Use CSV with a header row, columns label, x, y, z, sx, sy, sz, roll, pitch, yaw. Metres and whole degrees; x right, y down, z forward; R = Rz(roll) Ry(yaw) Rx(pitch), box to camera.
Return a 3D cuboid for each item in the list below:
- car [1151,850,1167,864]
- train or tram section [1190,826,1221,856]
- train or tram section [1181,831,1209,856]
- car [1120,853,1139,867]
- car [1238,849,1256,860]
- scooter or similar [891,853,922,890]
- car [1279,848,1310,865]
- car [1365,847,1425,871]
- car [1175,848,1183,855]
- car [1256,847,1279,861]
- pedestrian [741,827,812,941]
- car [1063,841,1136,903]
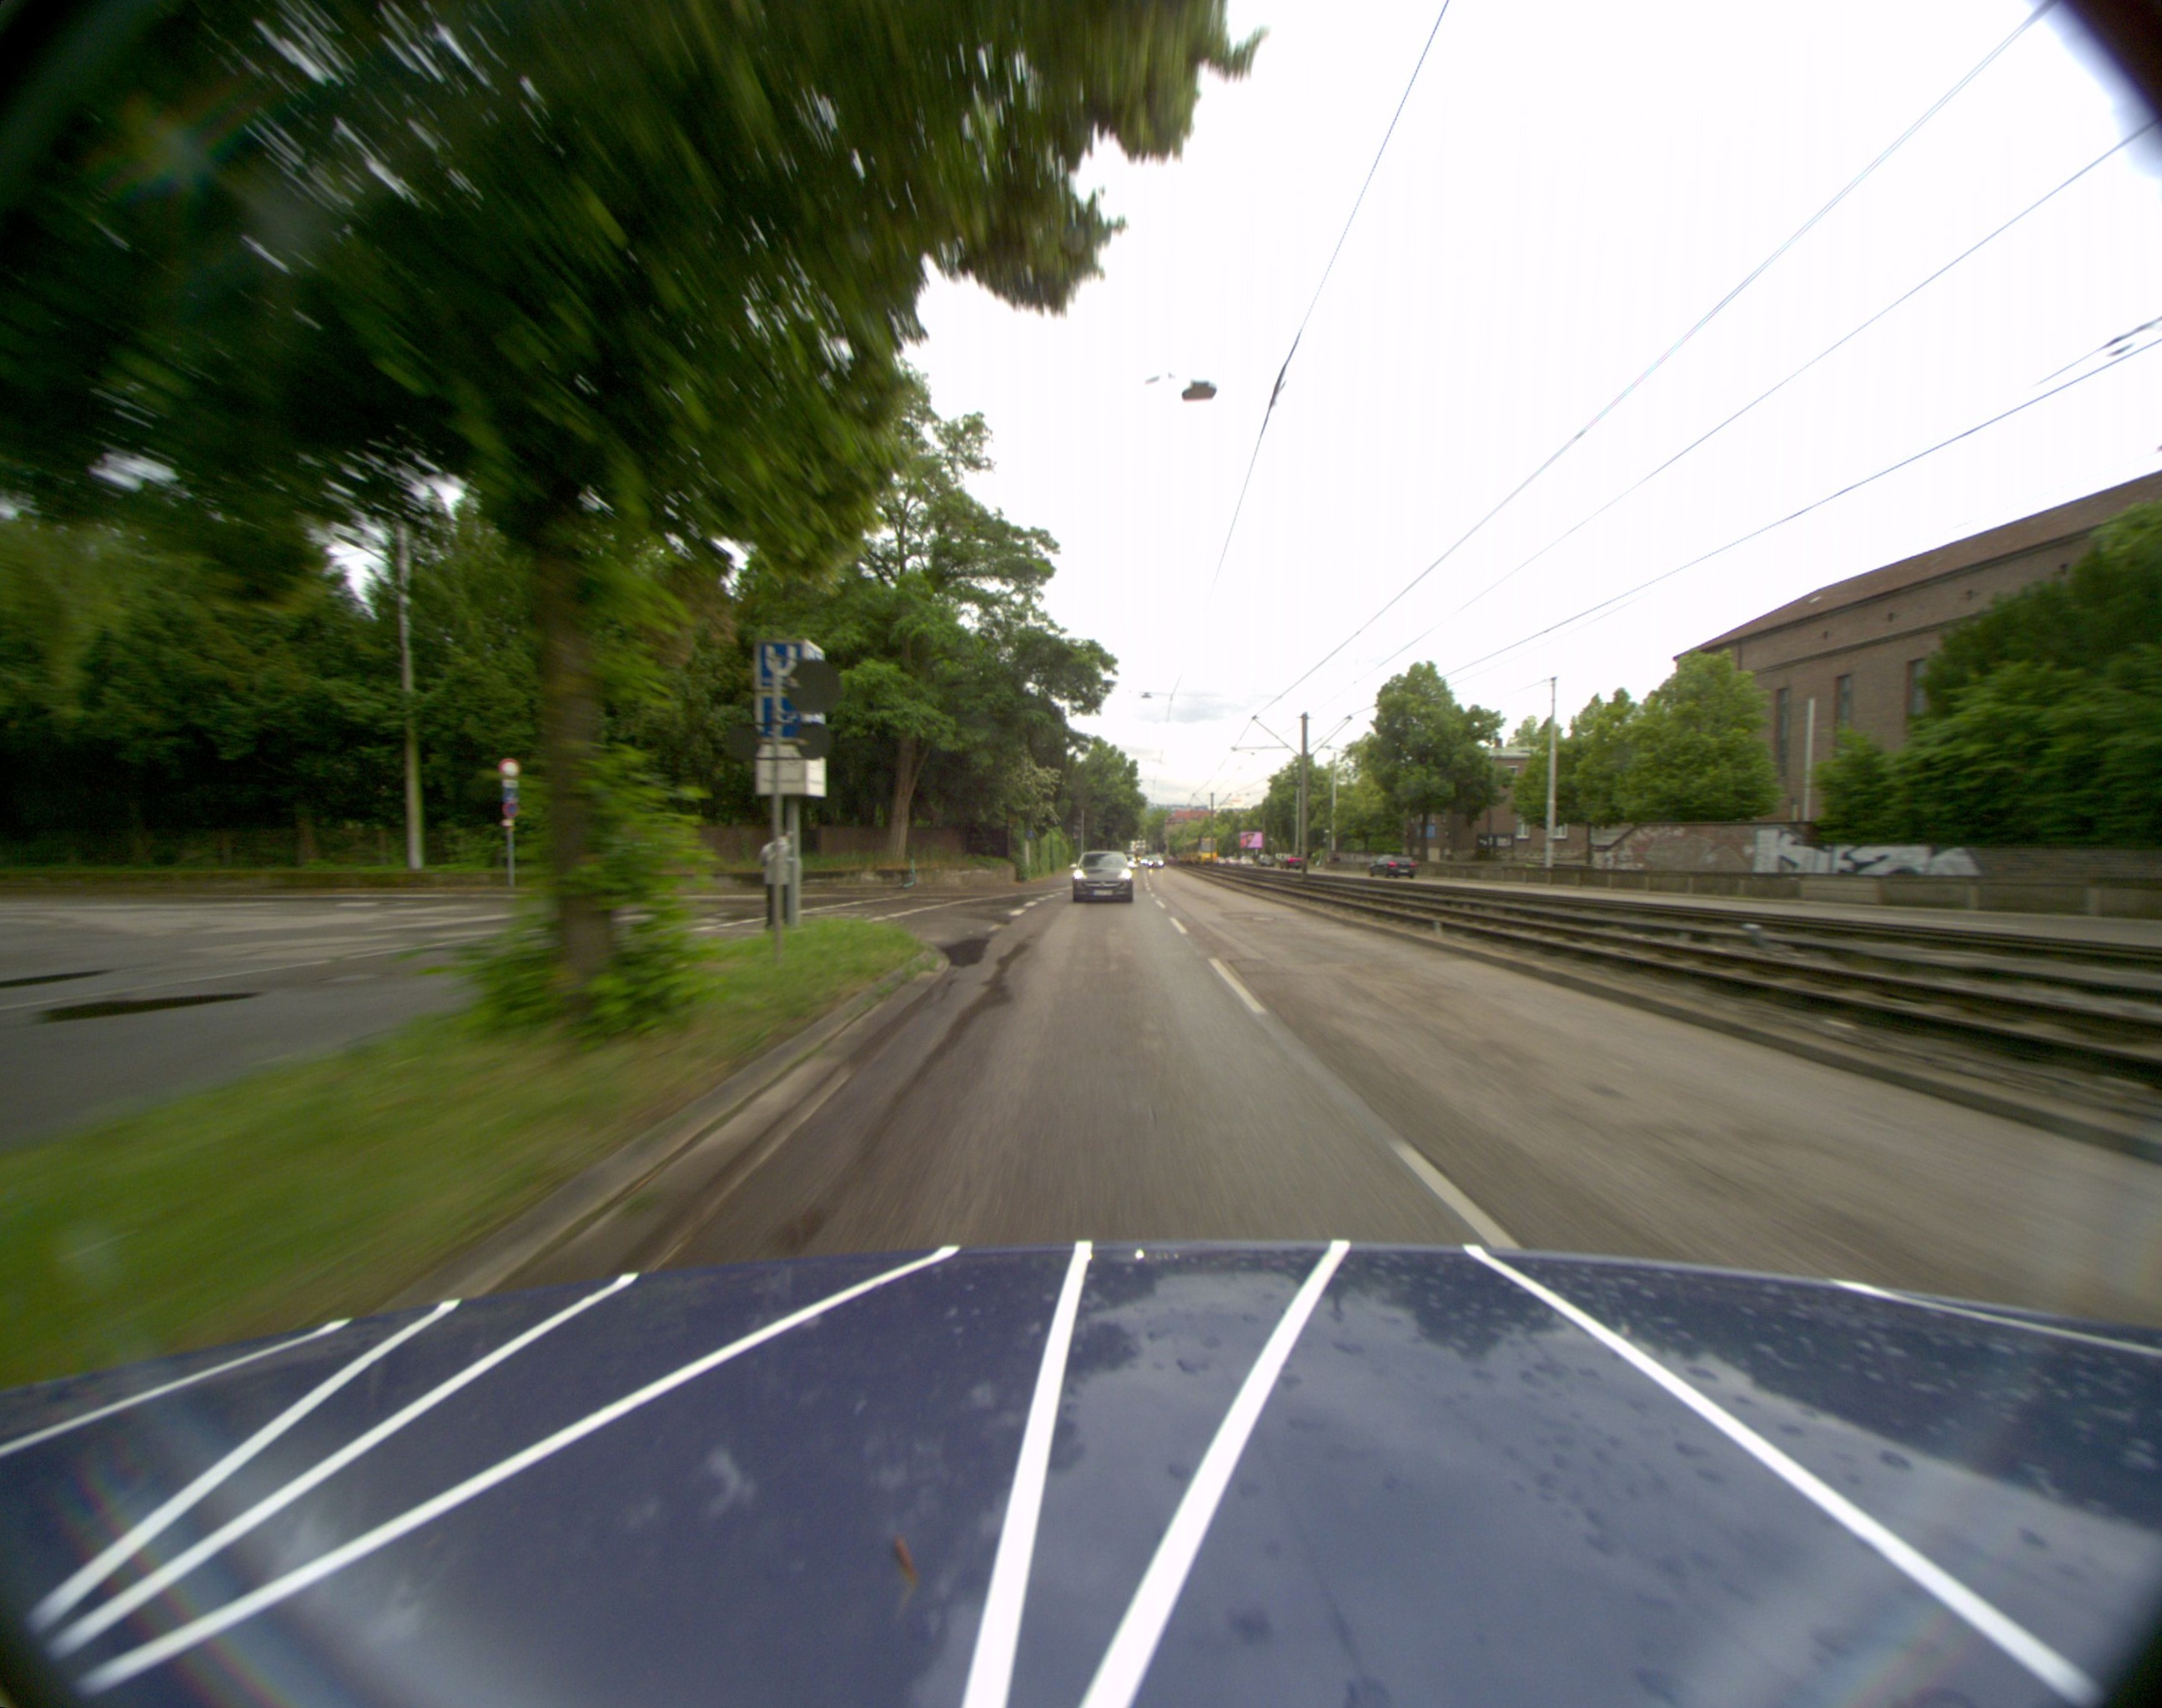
label,x,y,z,sx,sy,sz,roll,pitch,yaw
car,8.680,0.353,84.634,1.768,1.502,4.343,0,0,6
train or tram section,17.665,-1.667,108.959,2.834,3.952,17.882,0,0,4
train or tram section,18.888,-1.577,127.374,2.834,3.952,20.033,0,0,3
car,5.199,0.608,81.592,1.769,1.502,4.341,0,0,0
car,24.194,0.088,110.866,1.751,1.459,3.986,3,0,2
scooter or similar,-6.137,0.604,26.811,0.515,1.224,1.315,4,1,10
car,21.648,0.226,77.181,1.998,1.634,4.525,1,0,2
car,19.518,0.288,47.392,1.970,1.433,4.322,1,0,1
car,24.859,-0.571,192.864,1.691,1.628,4.342,0,0,4
car,22.995,-0.046,93.791,1.998,1.634,4.412,1,0,3
pedestrian,-5.097,0.489,12.744,0.856,1.843,0.737,0,0,5
car,0.635,0.472,21.580,1.745,1.544,4.495,-2,0,5
